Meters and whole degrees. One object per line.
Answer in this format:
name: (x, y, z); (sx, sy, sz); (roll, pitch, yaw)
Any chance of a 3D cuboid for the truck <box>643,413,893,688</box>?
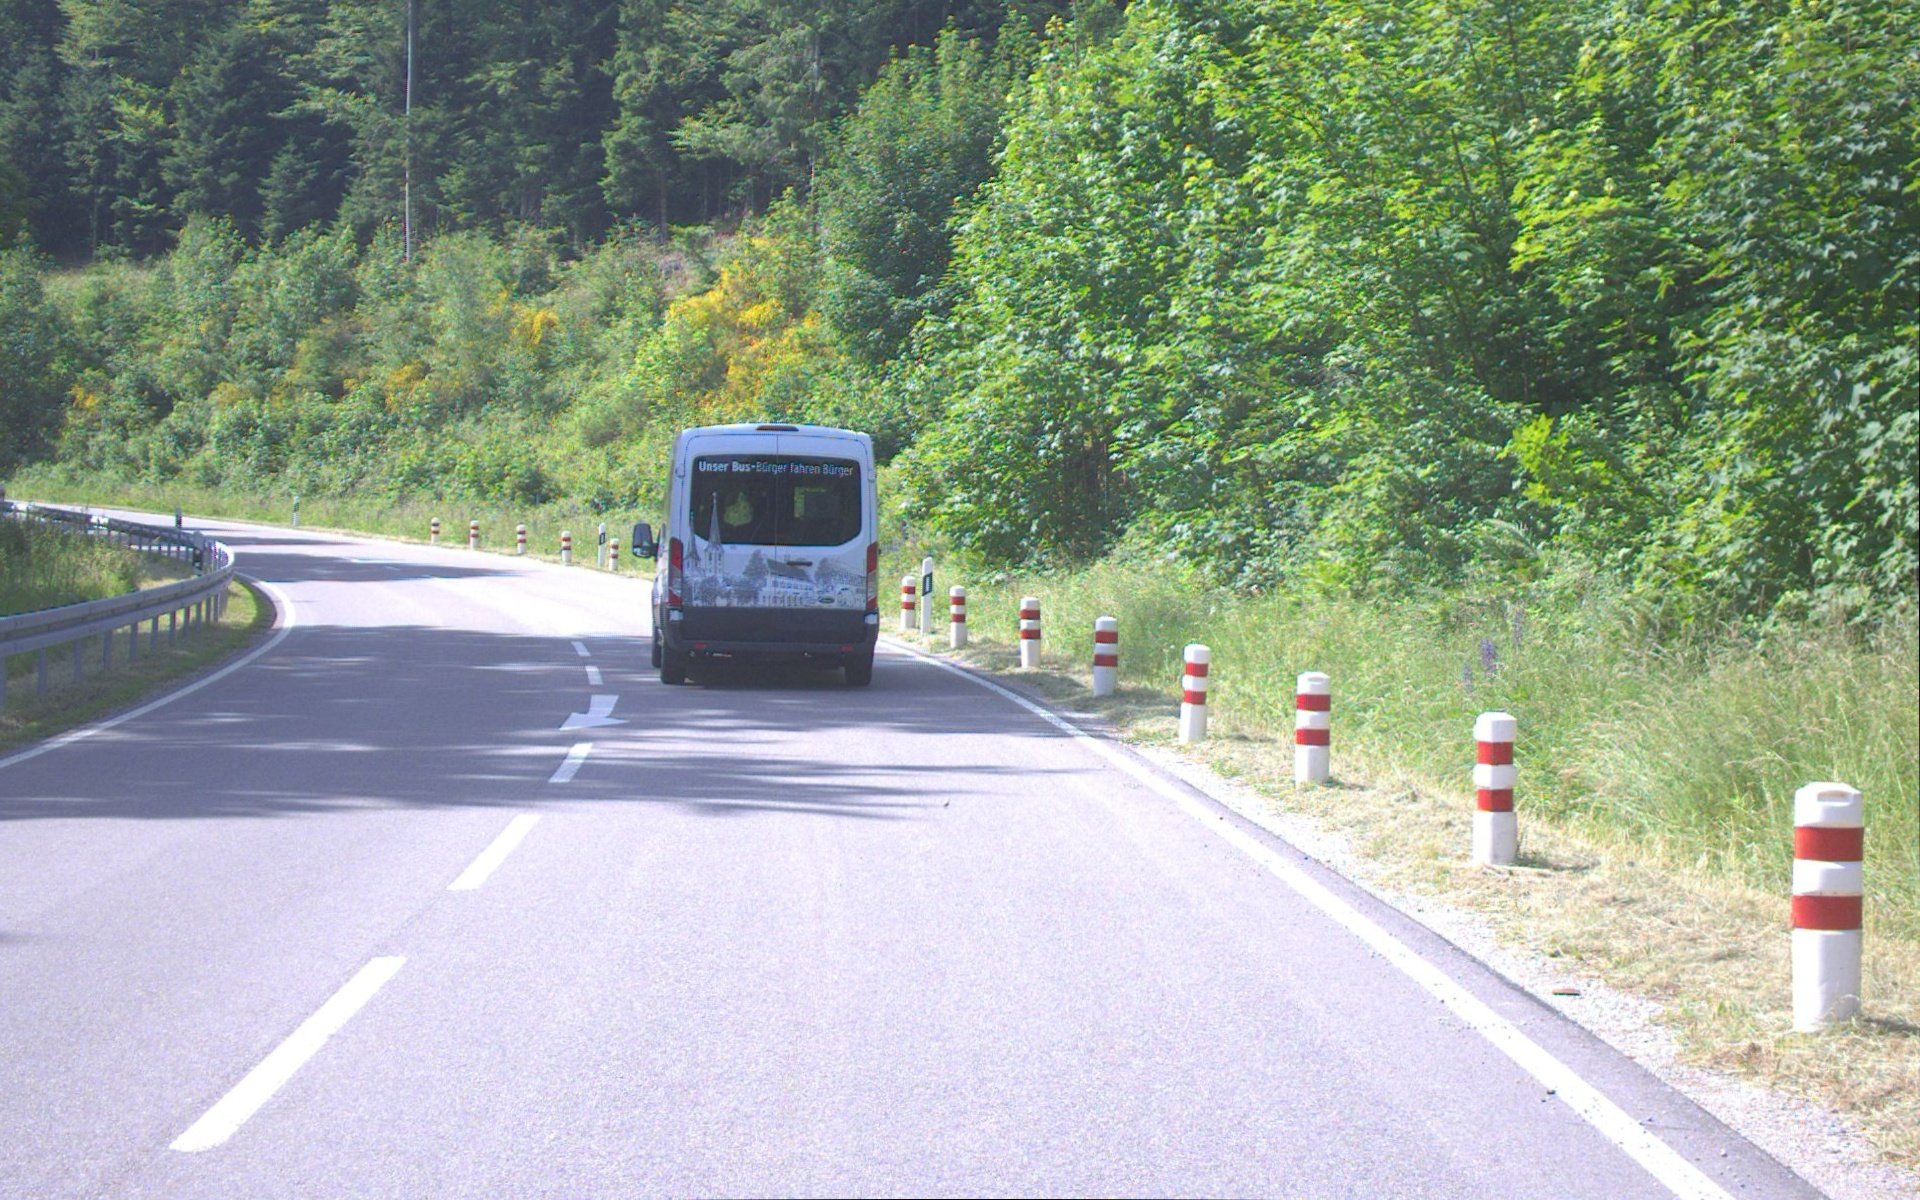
truck: (-1.999, -0.520, 34.138); (2.115, 2.489, 5.361); (1, 1, -7)
